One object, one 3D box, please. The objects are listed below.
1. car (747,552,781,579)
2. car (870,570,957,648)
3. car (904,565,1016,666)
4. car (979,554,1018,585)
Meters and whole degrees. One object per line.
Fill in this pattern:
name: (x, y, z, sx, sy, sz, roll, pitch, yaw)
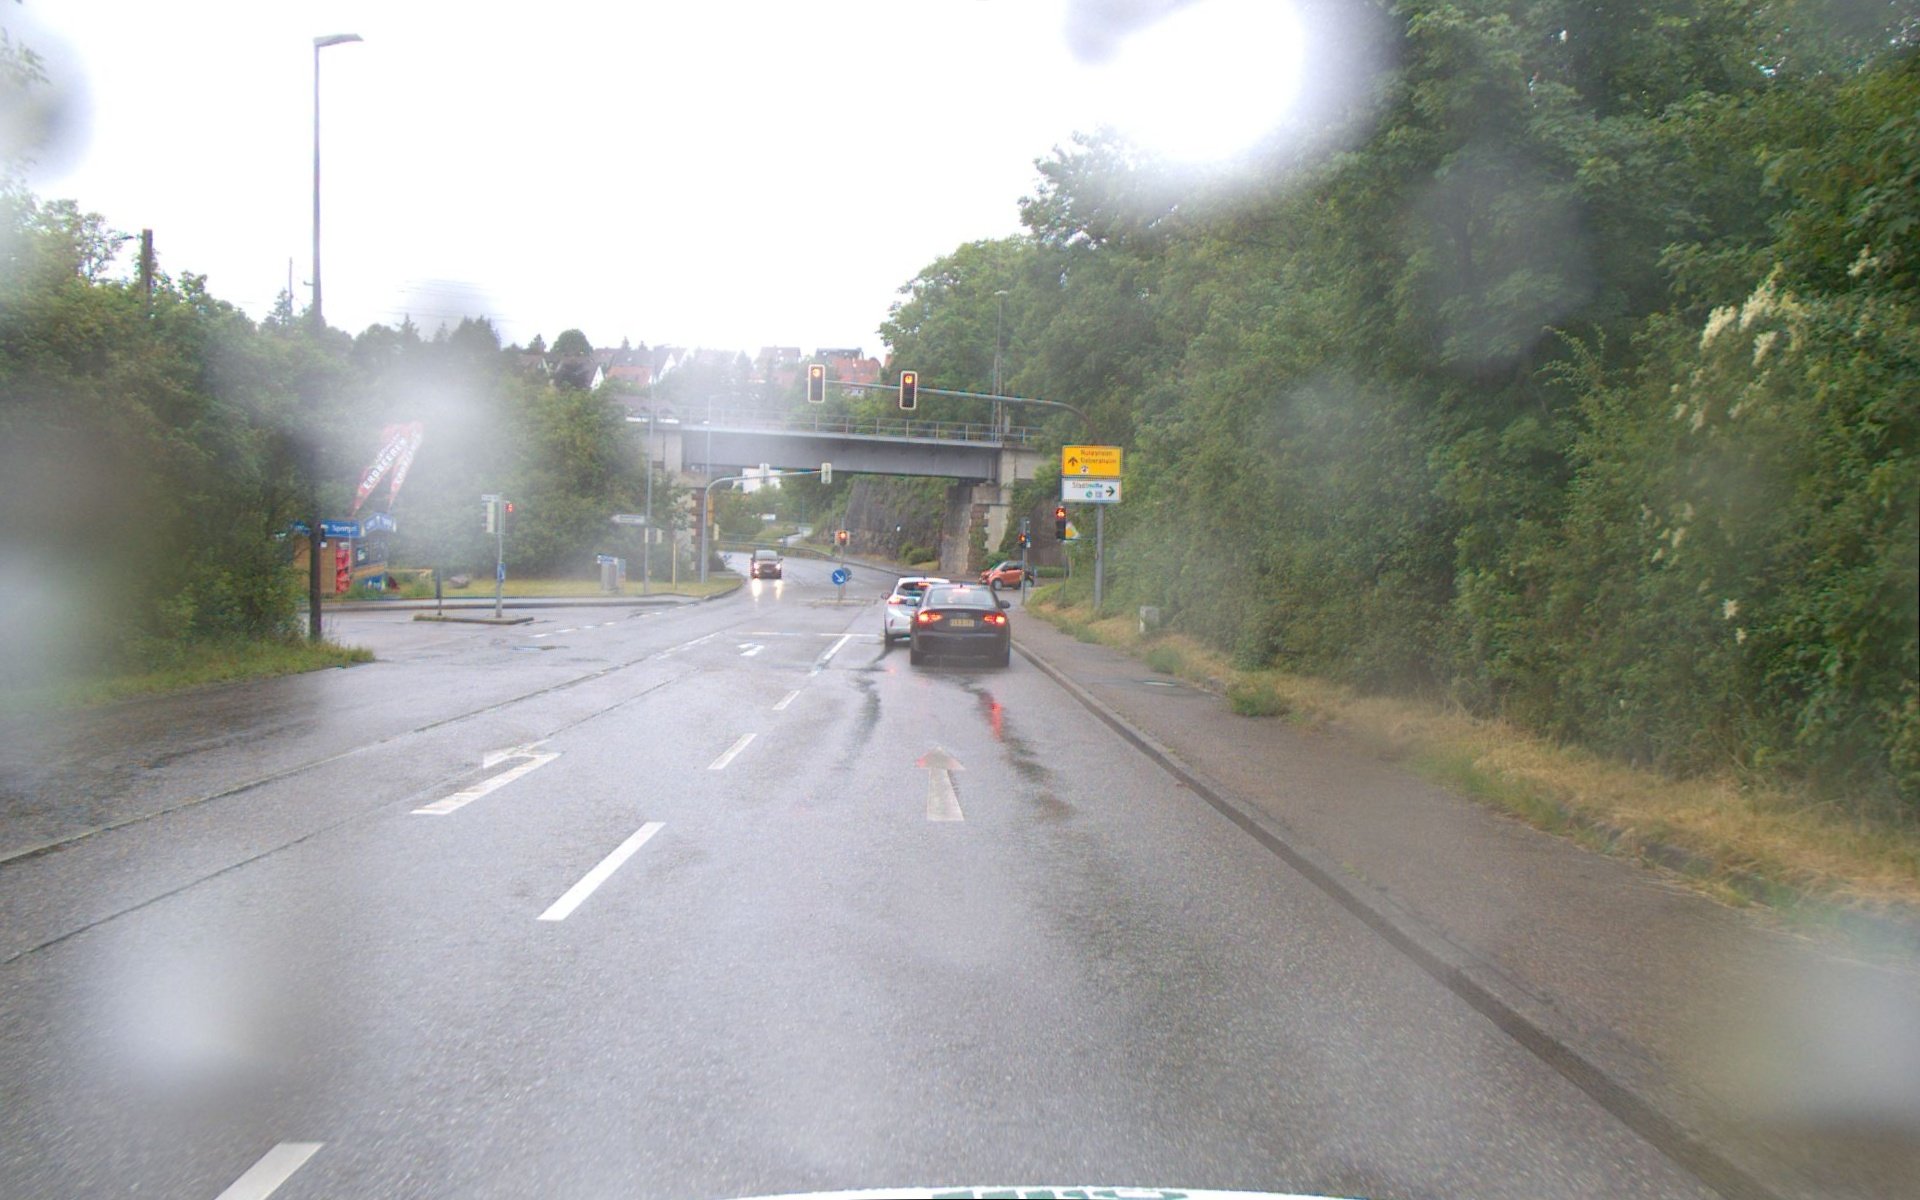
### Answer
car: (-12.612, -2.216, 106.142, 1.957, 1.656, 3.991, 0, 1, -10)
car: (-1.015, 0.183, 36.595, 1.786, 1.613, 3.999, 1, 0, -1)
car: (-0.039, 0.237, 29.867, 1.832, 1.644, 3.999, 2, 1, -1)
car: (2.071, -1.654, 90.427, 1.953, 1.613, 3.999, 1, 0, -1)
